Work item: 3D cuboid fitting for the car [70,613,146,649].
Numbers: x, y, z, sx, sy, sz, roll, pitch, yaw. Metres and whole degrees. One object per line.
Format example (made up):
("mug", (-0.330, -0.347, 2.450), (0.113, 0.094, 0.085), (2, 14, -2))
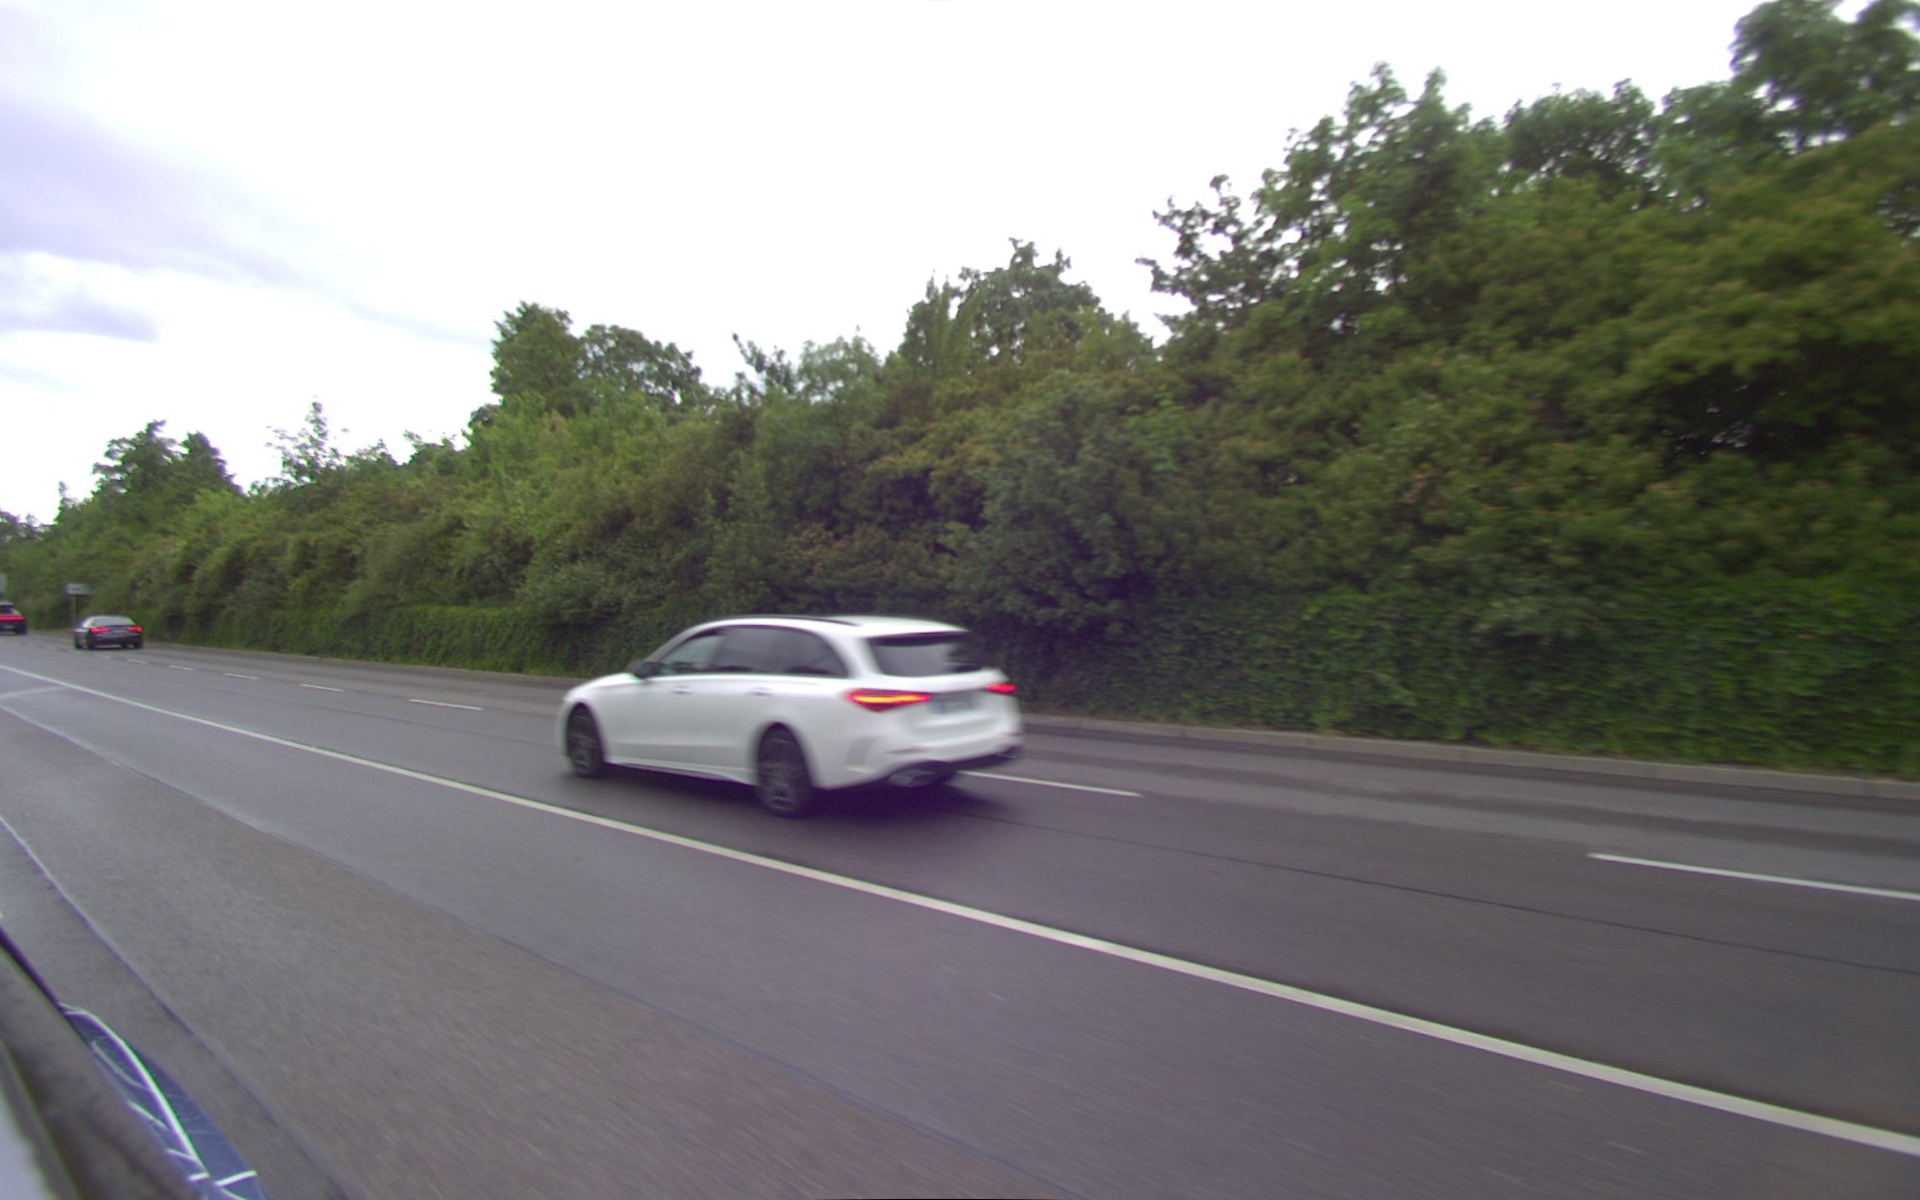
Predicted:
("car", (-36.191, 1.312, 42.926), (4.835, 1.391, 1.741), (-2, 0, 41))

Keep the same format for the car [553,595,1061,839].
("car", (-1.498, 0.764, 8.497), (4.514, 1.516, 1.697), (-1, 0, 41))

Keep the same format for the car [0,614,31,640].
("car", (-61.195, 1.705, 64.893), (4.628, 1.564, 1.879), (0, 0, 41))
